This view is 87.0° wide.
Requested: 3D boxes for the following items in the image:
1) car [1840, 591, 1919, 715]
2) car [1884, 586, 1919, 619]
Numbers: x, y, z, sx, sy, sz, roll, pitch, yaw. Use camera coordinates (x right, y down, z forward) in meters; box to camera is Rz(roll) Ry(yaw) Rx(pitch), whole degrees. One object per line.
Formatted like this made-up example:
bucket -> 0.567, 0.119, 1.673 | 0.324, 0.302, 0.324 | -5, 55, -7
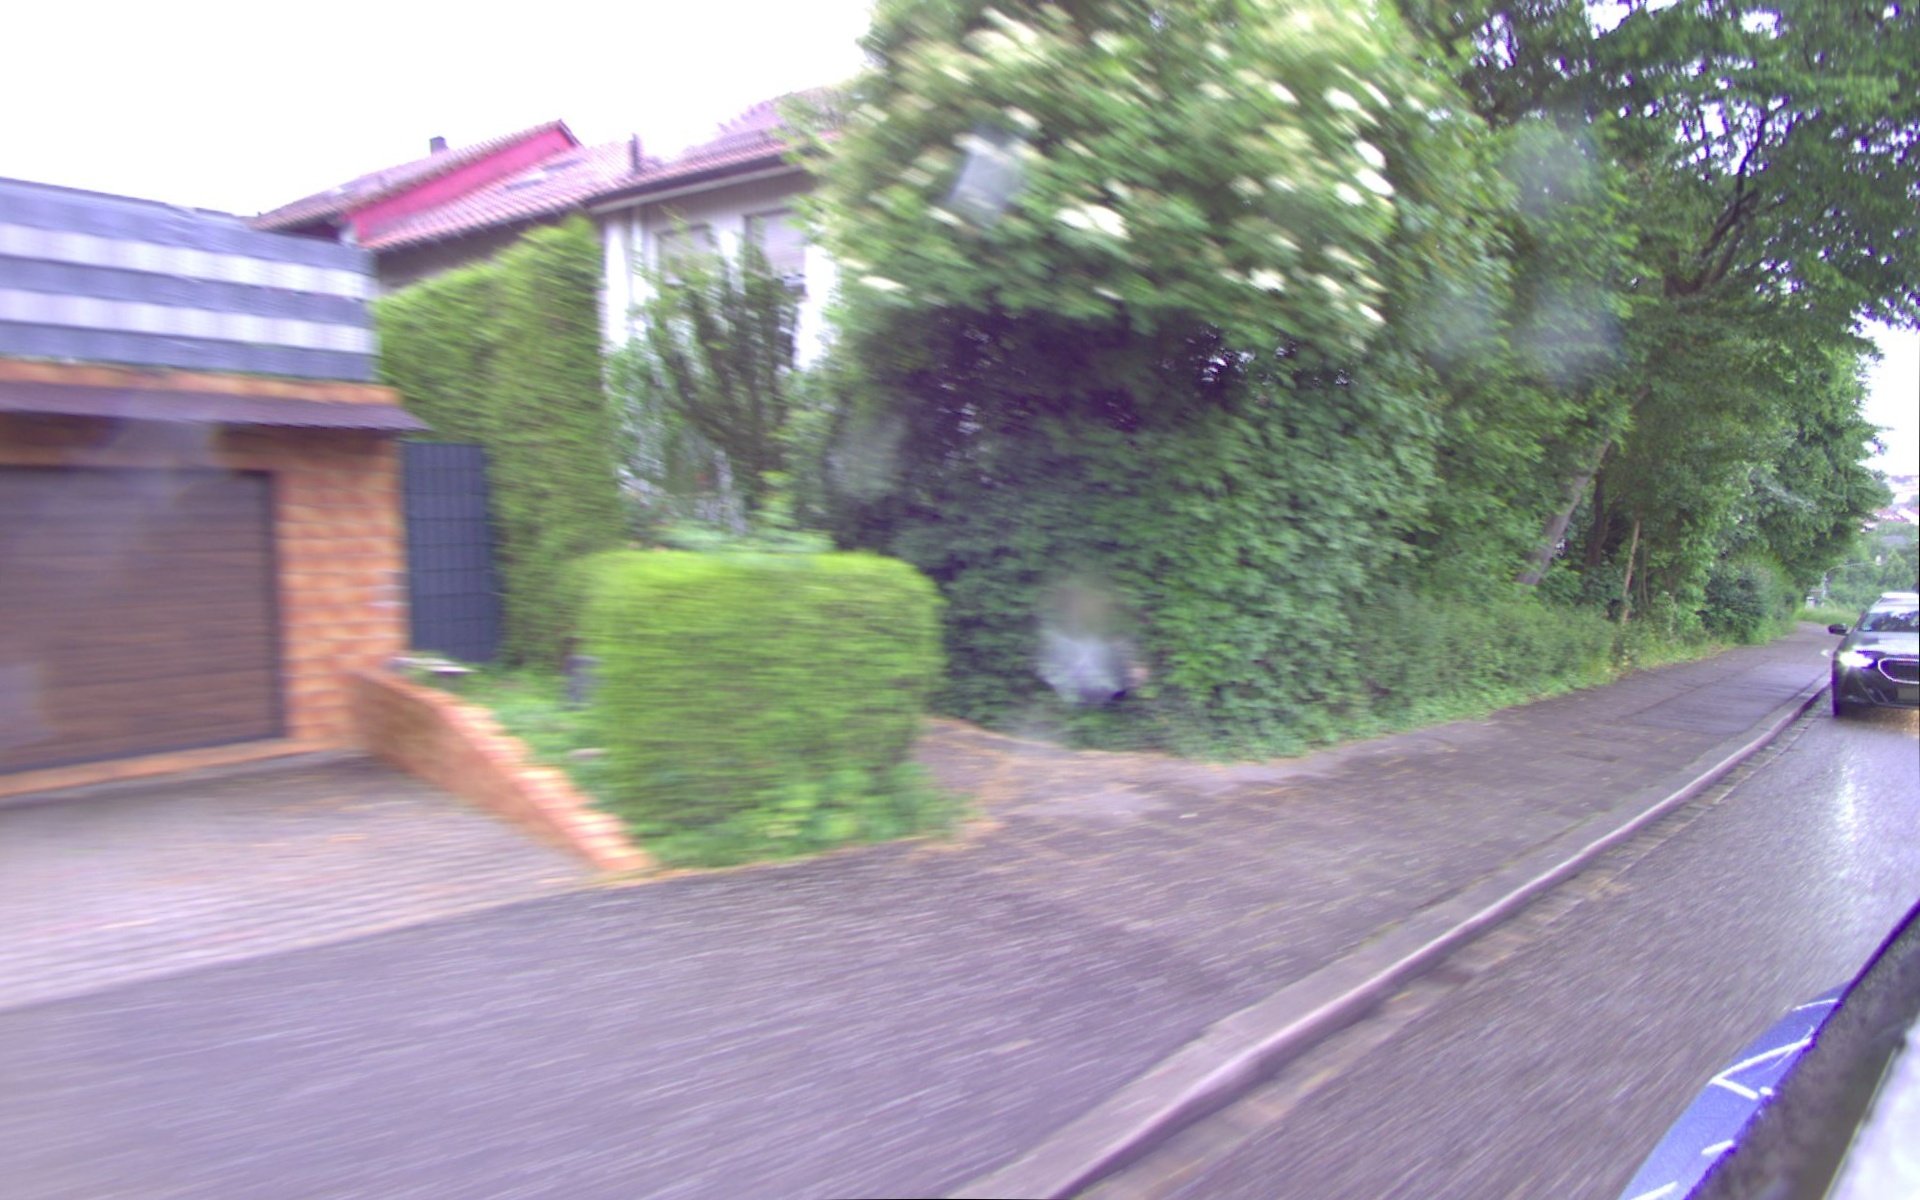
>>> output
car -> 12.735, 0.592, 12.916 | 4.211, 1.396, 1.843 | -1, 1, -43
car -> 52.735, 0.141, 56.427 | 1.698, 1.701, 4.218 | 3, 2, 42
